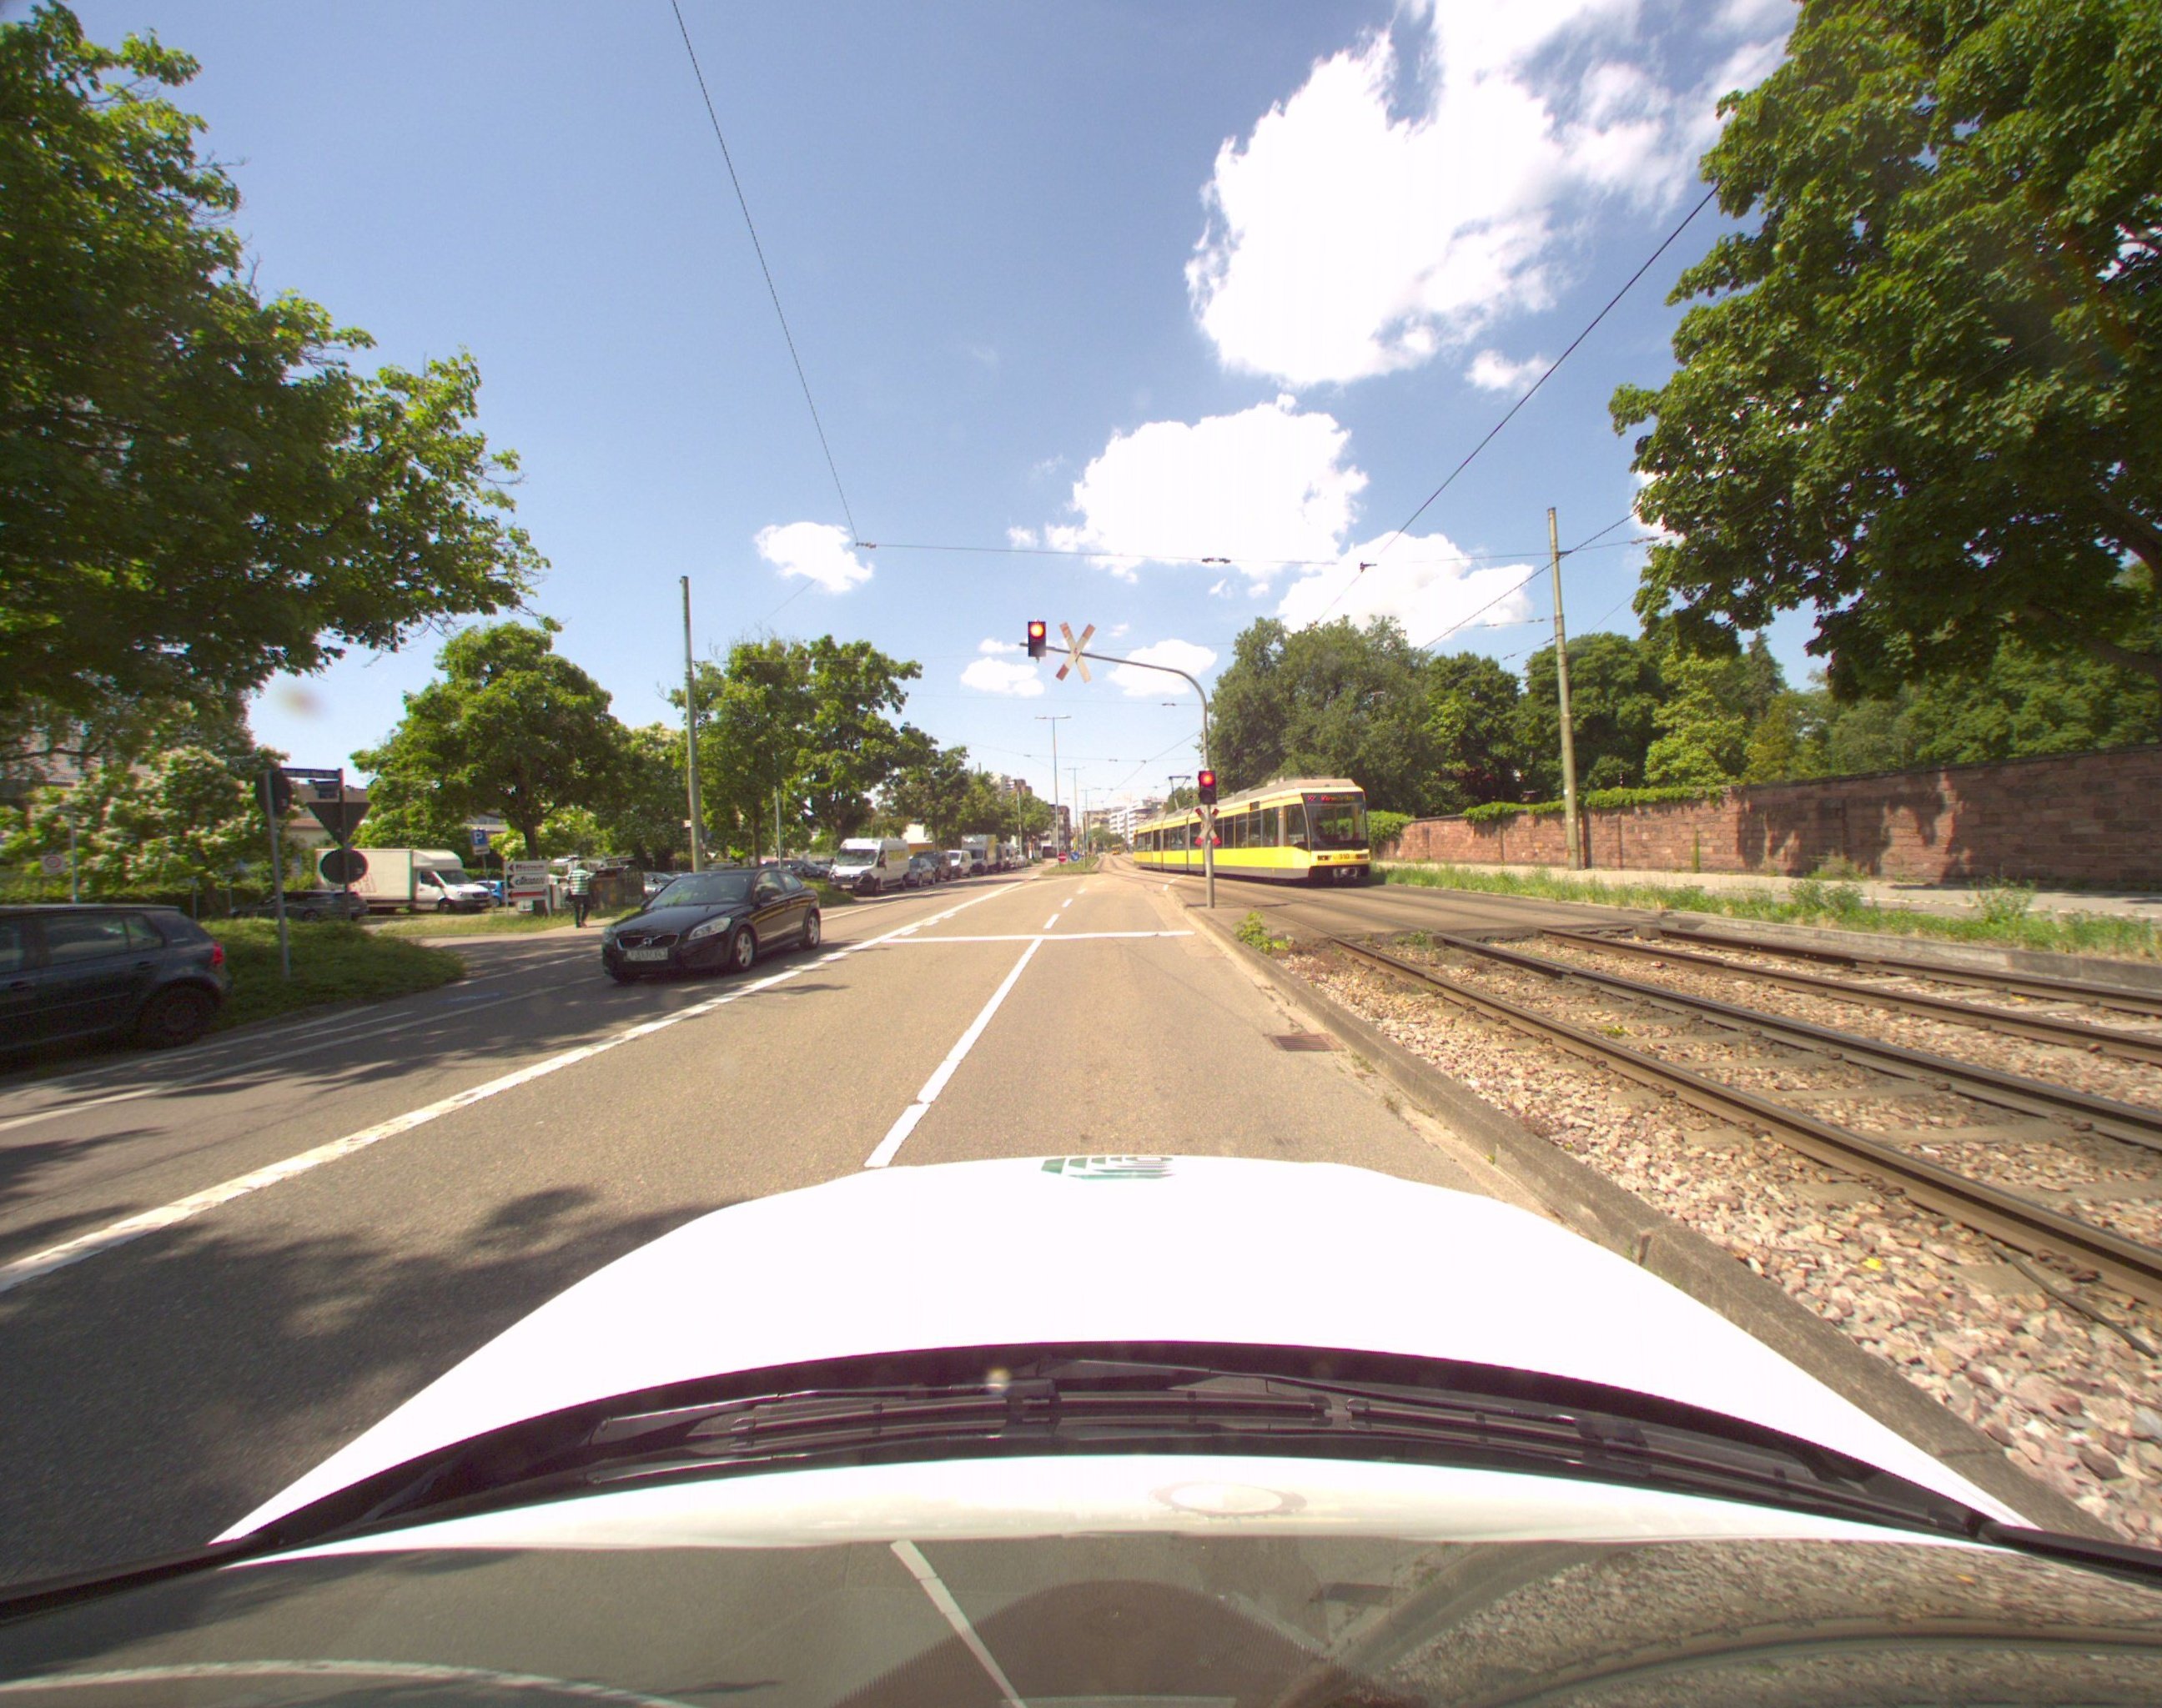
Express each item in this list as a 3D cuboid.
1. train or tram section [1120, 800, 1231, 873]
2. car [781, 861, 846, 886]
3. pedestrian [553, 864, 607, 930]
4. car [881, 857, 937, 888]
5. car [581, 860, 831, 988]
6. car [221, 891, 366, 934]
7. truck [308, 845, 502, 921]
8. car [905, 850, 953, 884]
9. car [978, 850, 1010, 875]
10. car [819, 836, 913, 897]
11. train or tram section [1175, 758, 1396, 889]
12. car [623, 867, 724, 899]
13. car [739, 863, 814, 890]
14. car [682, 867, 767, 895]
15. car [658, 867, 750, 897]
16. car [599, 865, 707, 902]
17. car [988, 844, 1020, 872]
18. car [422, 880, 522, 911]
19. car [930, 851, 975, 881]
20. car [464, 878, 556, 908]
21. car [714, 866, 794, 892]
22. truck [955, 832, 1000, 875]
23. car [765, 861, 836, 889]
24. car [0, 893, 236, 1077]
[{"bbox_3d":[5.313,-0.959,51.673,2.939,3.692,20.248,-1,0,-5],"label":"train or tram section"},{"bbox_3d":[-19.186,1.390,58.480,3.973,1.606,1.805,-3,0,0],"label":"car"},{"bbox_3d":[-14.418,1.228,23.454,0.971,1.823,0.794,-3,0,-1],"label":"pedestrian"},{"bbox_3d":[-9.061,0.940,43.247,1.861,1.437,4.345,-3,0,2],"label":"car"},{"bbox_3d":[-5.268,0.884,12.092,1.672,1.398,4.007,-4,0,1],"label":"car"},{"bbox_3d":[-31.434,2.333,32.571,3.974,1.399,1.773,-3,0,0],"label":"car"},{"bbox_3d":[-32.343,1.335,39.126,7.165,3.227,2.332,-3,0,-1],"label":"truck"},{"bbox_3d":[-9.219,0.756,49.760,1.861,1.895,4.273,-3,0,2],"label":"car"},{"bbox_3d":[-7.703,0.726,72.357,2.053,1.976,4.874,-3,0,2],"label":"car"},{"bbox_3d":[-9.526,0.494,36.739,2.147,2.487,6.200,1,1,4],"label":"car"},{"bbox_3d":[6.947,-0.942,32.496,2.938,3.692,18.362,-1,0,-4],"label":"train or tram section"},{"bbox_3d":[-20.056,1.395,40.184,3.973,1.339,1.805,-3,0,0],"label":"car"},{"bbox_3d":[-19.122,1.389,51.246,3.973,1.442,1.805,-3,0,1],"label":"car"},{"bbox_3d":[-20.213,1.496,46.290,3.973,1.339,1.805,-3,0,0],"label":"car"},{"bbox_3d":[-20.155,1.498,43.649,3.973,1.339,1.805,-3,0,0],"label":"car"},{"bbox_3d":[-19.773,1.353,37.756,3.973,1.442,1.805,-3,0,0],"label":"car"},{"bbox_3d":[-7.497,0.338,80.018,2.147,2.639,5.618,-1,0,4],"label":"car"},{"bbox_3d":[-32.806,2.220,43.935,3.973,1.442,1.805,-3,0,0],"label":"car"},{"bbox_3d":[-8.849,0.770,56.311,2.053,1.897,4.874,-3,0,2],"label":"car"},{"bbox_3d":[-32.766,2.228,46.794,3.973,1.442,1.805,-3,0,0],"label":"car"},{"bbox_3d":[-19.574,1.499,48.841,3.973,1.339,1.805,-3,0,0],"label":"car"},{"bbox_3d":[-8.179,-0.060,64.916,2.147,3.210,7.090,1,1,4],"label":"truck"},{"bbox_3d":[-18.614,1.365,54.196,3.973,1.606,1.805,-3,0,0],"label":"car"},{"bbox_3d":[-10.201,1.193,6.902,1.768,1.480,4.049,-1,0,2],"label":"car"}]
